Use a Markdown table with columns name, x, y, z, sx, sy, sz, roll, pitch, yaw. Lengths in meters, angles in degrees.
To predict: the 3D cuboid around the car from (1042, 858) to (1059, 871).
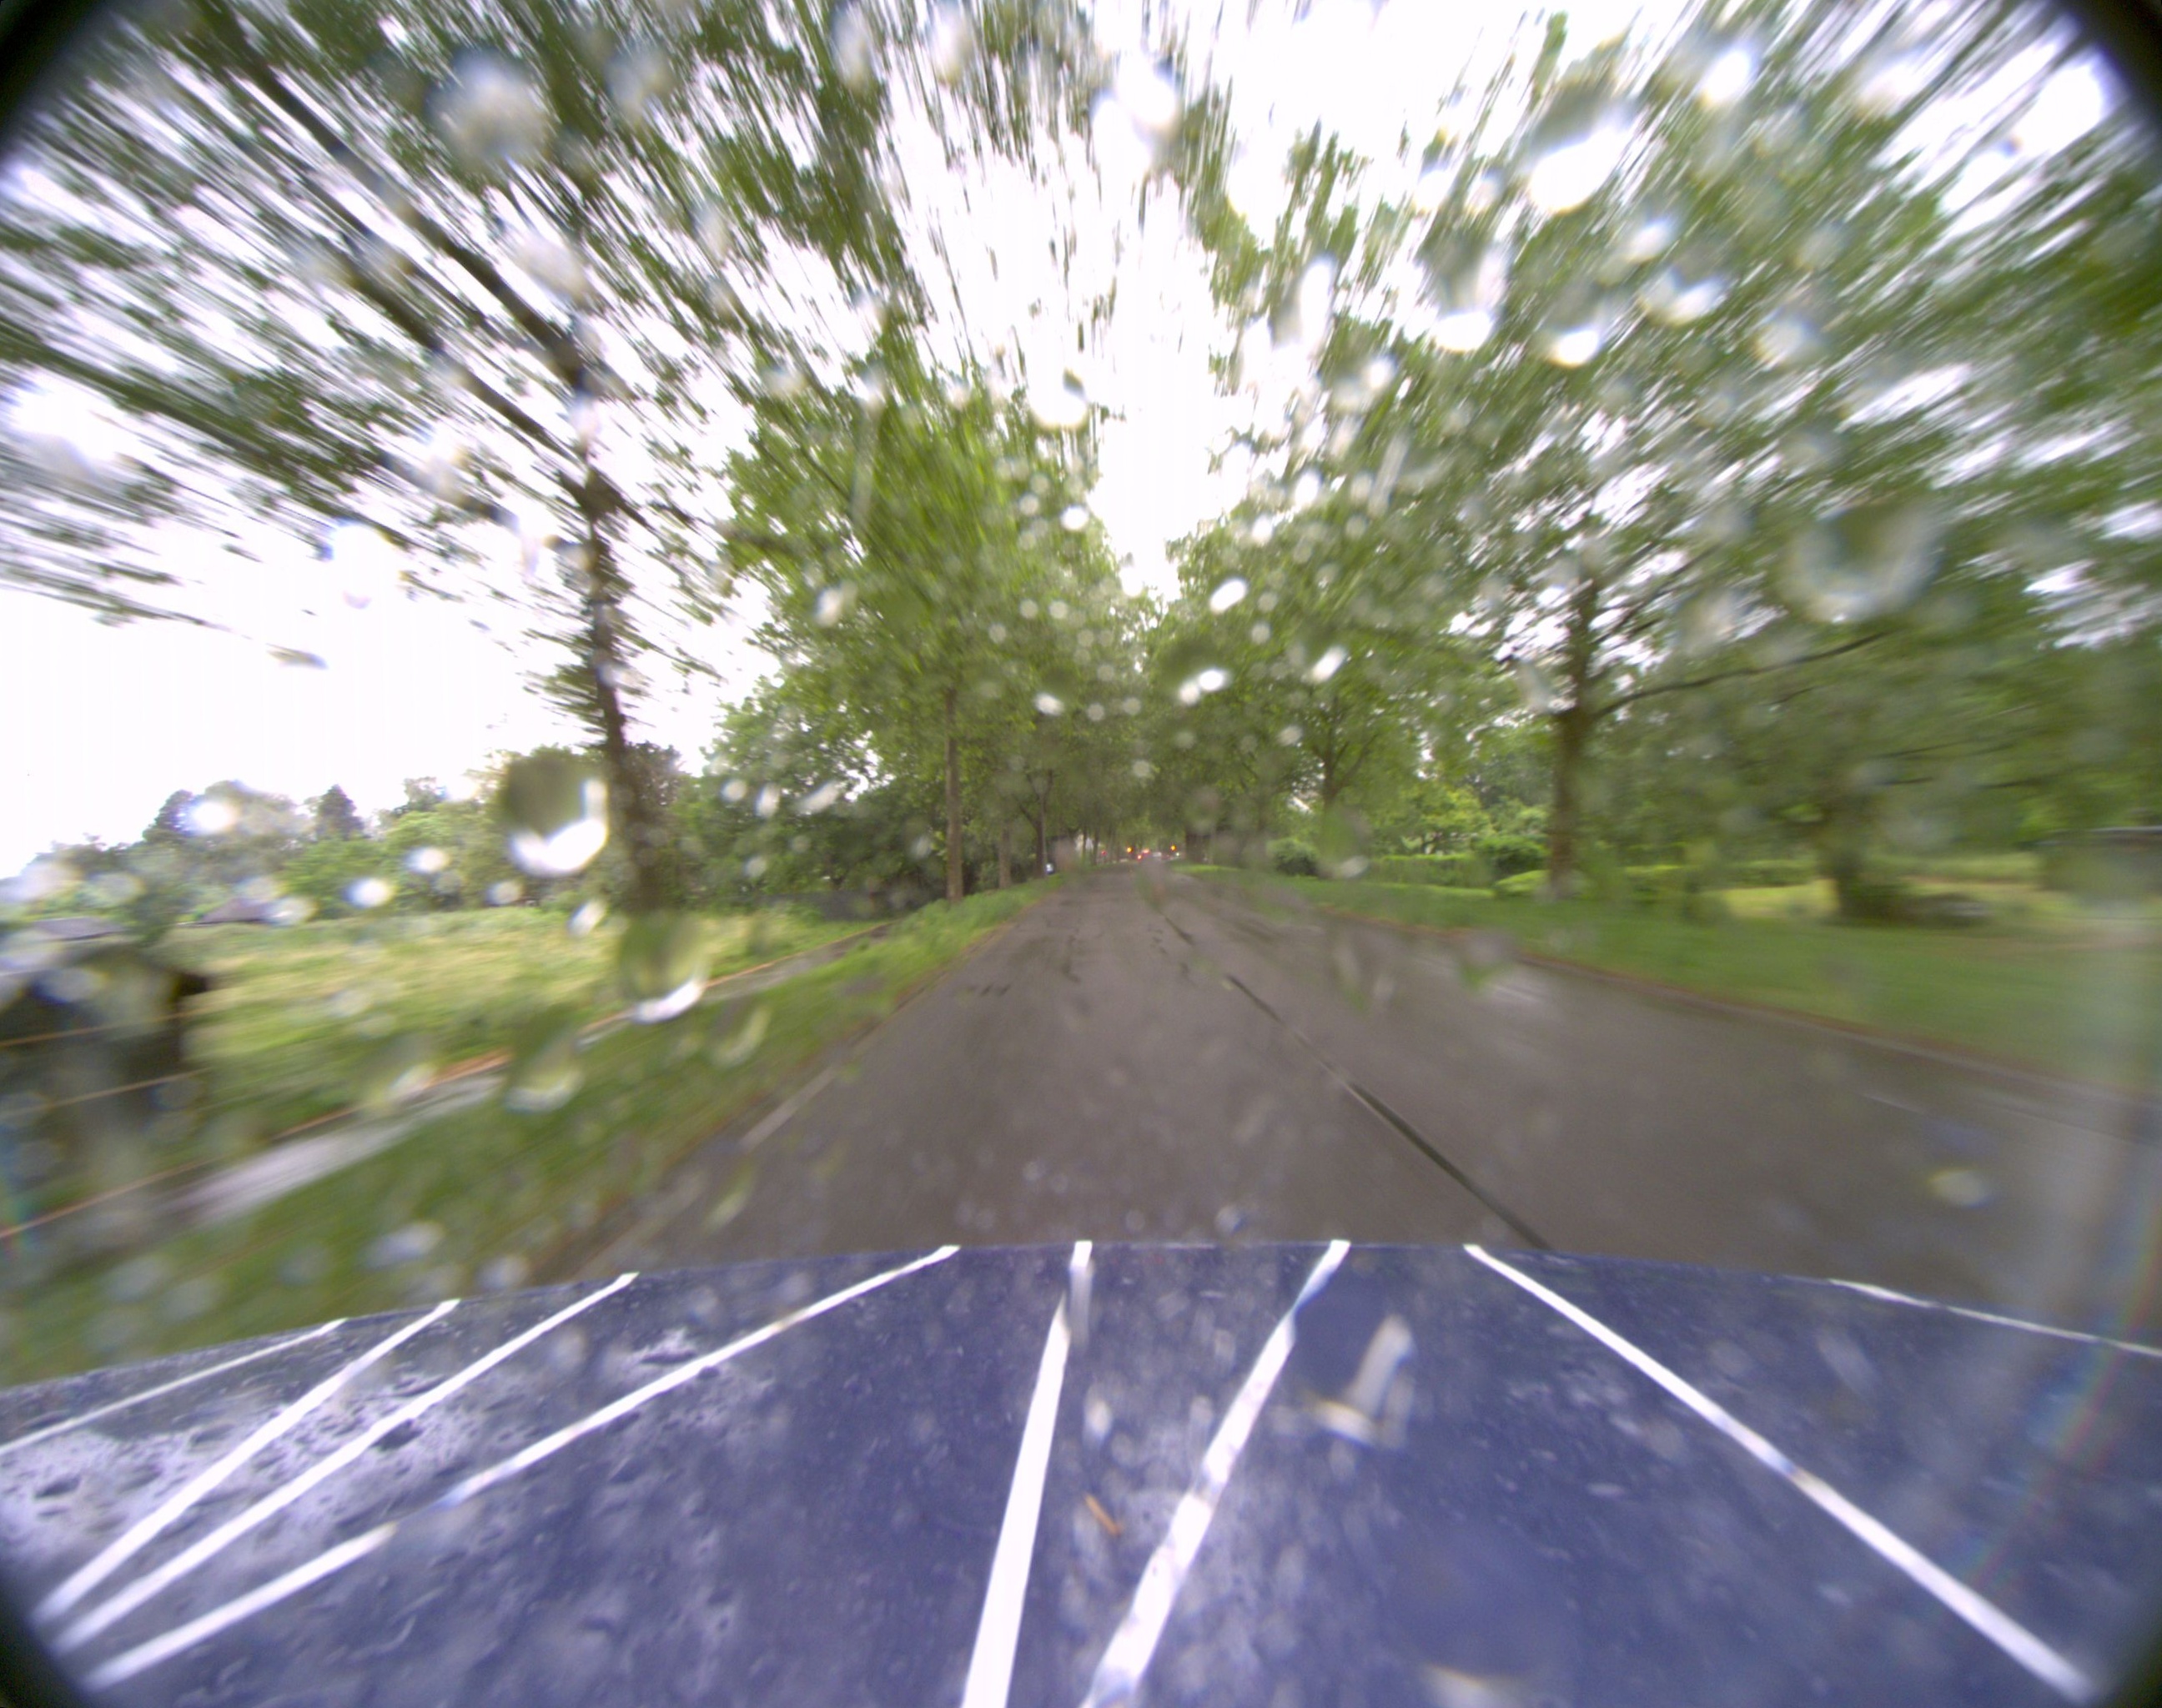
| name | x | y | z | sx | sy | sz | roll | pitch | yaw |
| --- | --- | --- | --- | --- | --- | --- | --- | --- | --- |
| car | -3.992 | 1.393 | 101.112 | 1.800 | 1.317 | 4.000 | -7 | 0 | 3 |

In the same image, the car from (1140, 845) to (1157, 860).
| name | x | y | z | sx | sy | sz | roll | pitch | yaw |
| --- | --- | --- | --- | --- | --- | --- | --- | --- | --- |
| car | 8.387 | -0.223 | 94.733 | 1.867 | 1.740 | 5.016 | -1 | 0 | 2 |

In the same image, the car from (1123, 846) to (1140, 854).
| name | x | y | z | sx | sy | sz | roll | pitch | yaw |
| --- | --- | --- | --- | --- | --- | --- | --- | --- | --- |
| car | 12.996 | -0.935 | 195.731 | 4.262 | 1.845 | 1.892 | -3 | 1 | 2 |
